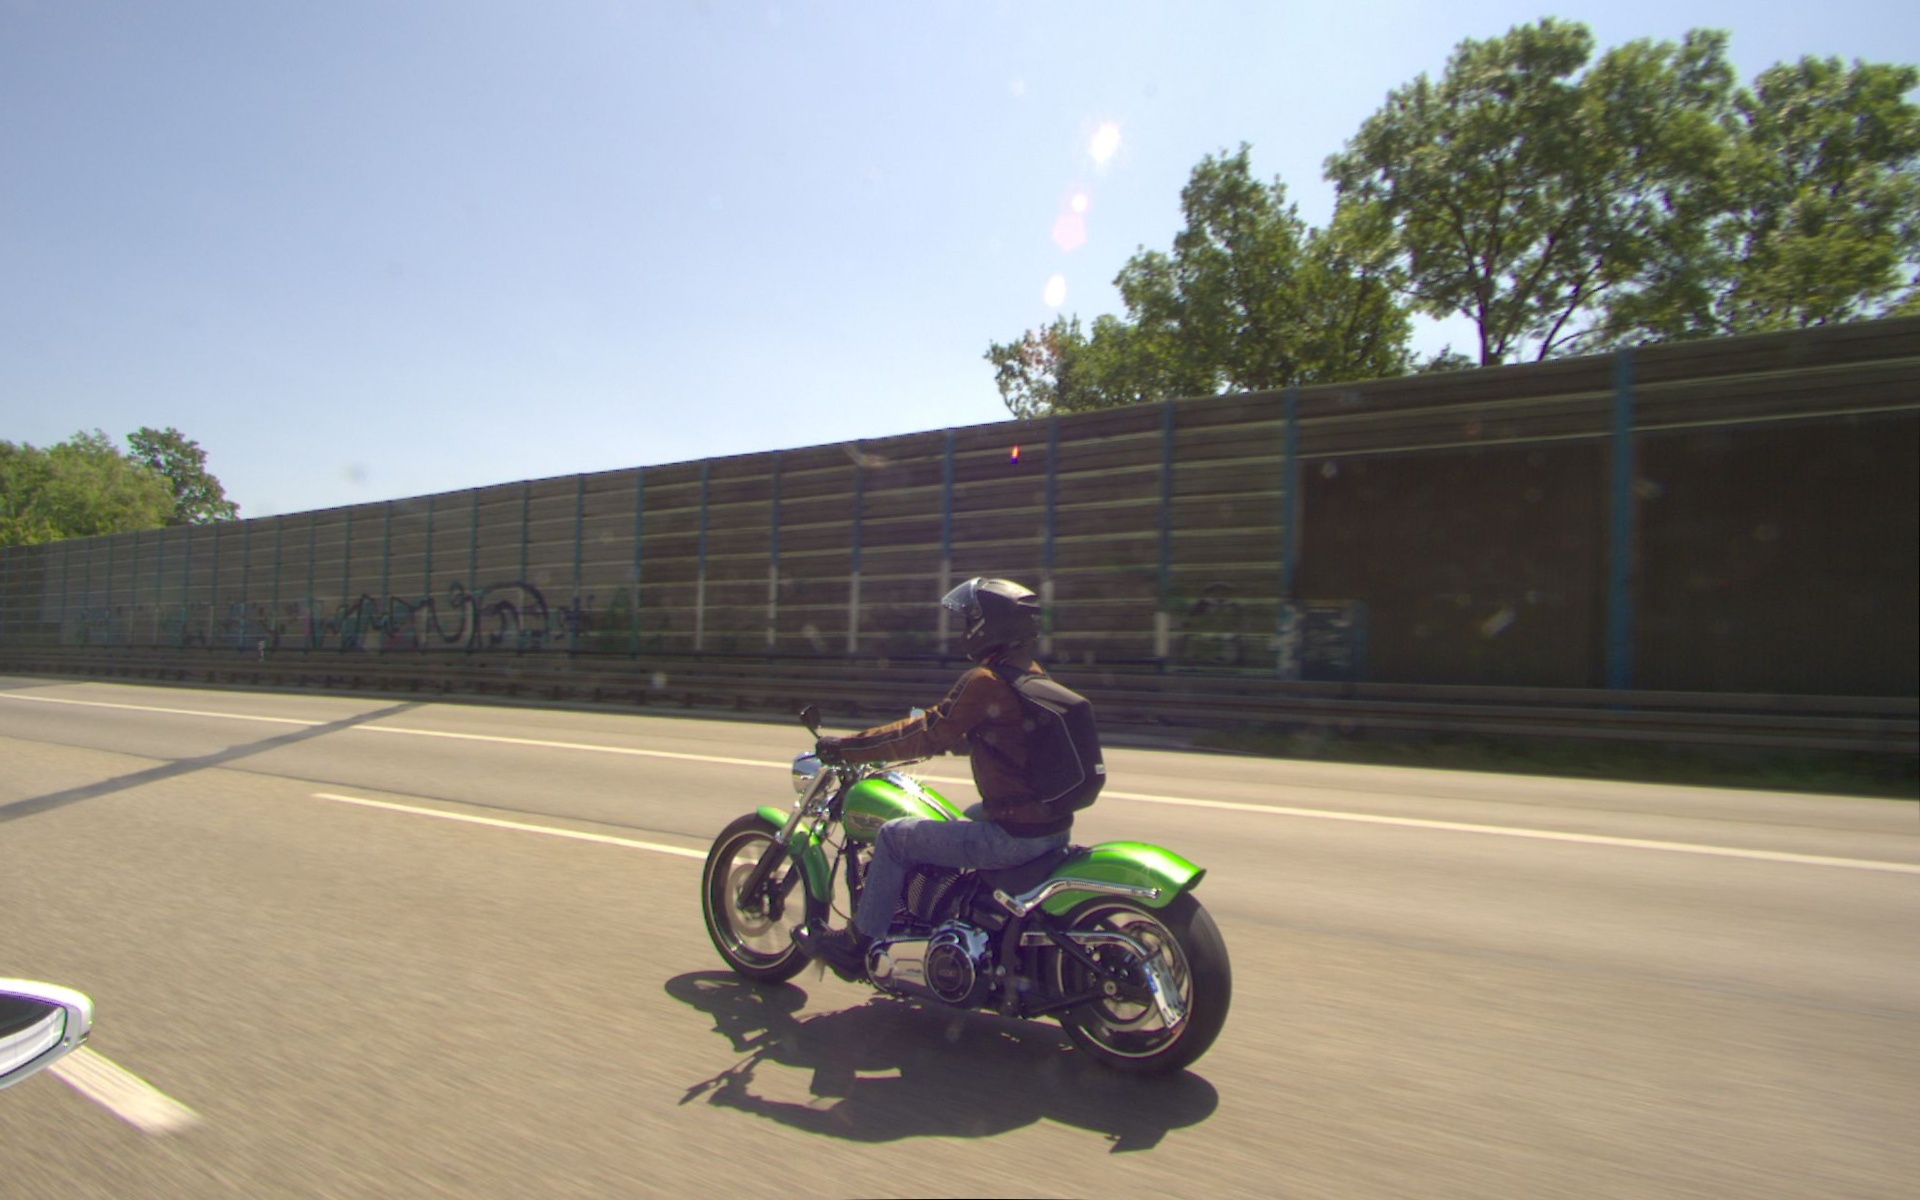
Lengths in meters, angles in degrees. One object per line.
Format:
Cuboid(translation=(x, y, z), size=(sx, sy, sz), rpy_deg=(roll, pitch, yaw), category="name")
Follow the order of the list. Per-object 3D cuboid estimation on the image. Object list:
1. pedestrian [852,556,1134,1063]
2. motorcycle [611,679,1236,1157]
Cuboid(translation=(0.142, 0.636, 3.504), size=(0.629, 1.497, 0.850), rpy_deg=(0, -1, 33), category="pedestrian")
Cuboid(translation=(-0.215, 0.947, 3.727), size=(2.244, 1.197, 0.858), rpy_deg=(0, -2, 33), category="motorcycle")
